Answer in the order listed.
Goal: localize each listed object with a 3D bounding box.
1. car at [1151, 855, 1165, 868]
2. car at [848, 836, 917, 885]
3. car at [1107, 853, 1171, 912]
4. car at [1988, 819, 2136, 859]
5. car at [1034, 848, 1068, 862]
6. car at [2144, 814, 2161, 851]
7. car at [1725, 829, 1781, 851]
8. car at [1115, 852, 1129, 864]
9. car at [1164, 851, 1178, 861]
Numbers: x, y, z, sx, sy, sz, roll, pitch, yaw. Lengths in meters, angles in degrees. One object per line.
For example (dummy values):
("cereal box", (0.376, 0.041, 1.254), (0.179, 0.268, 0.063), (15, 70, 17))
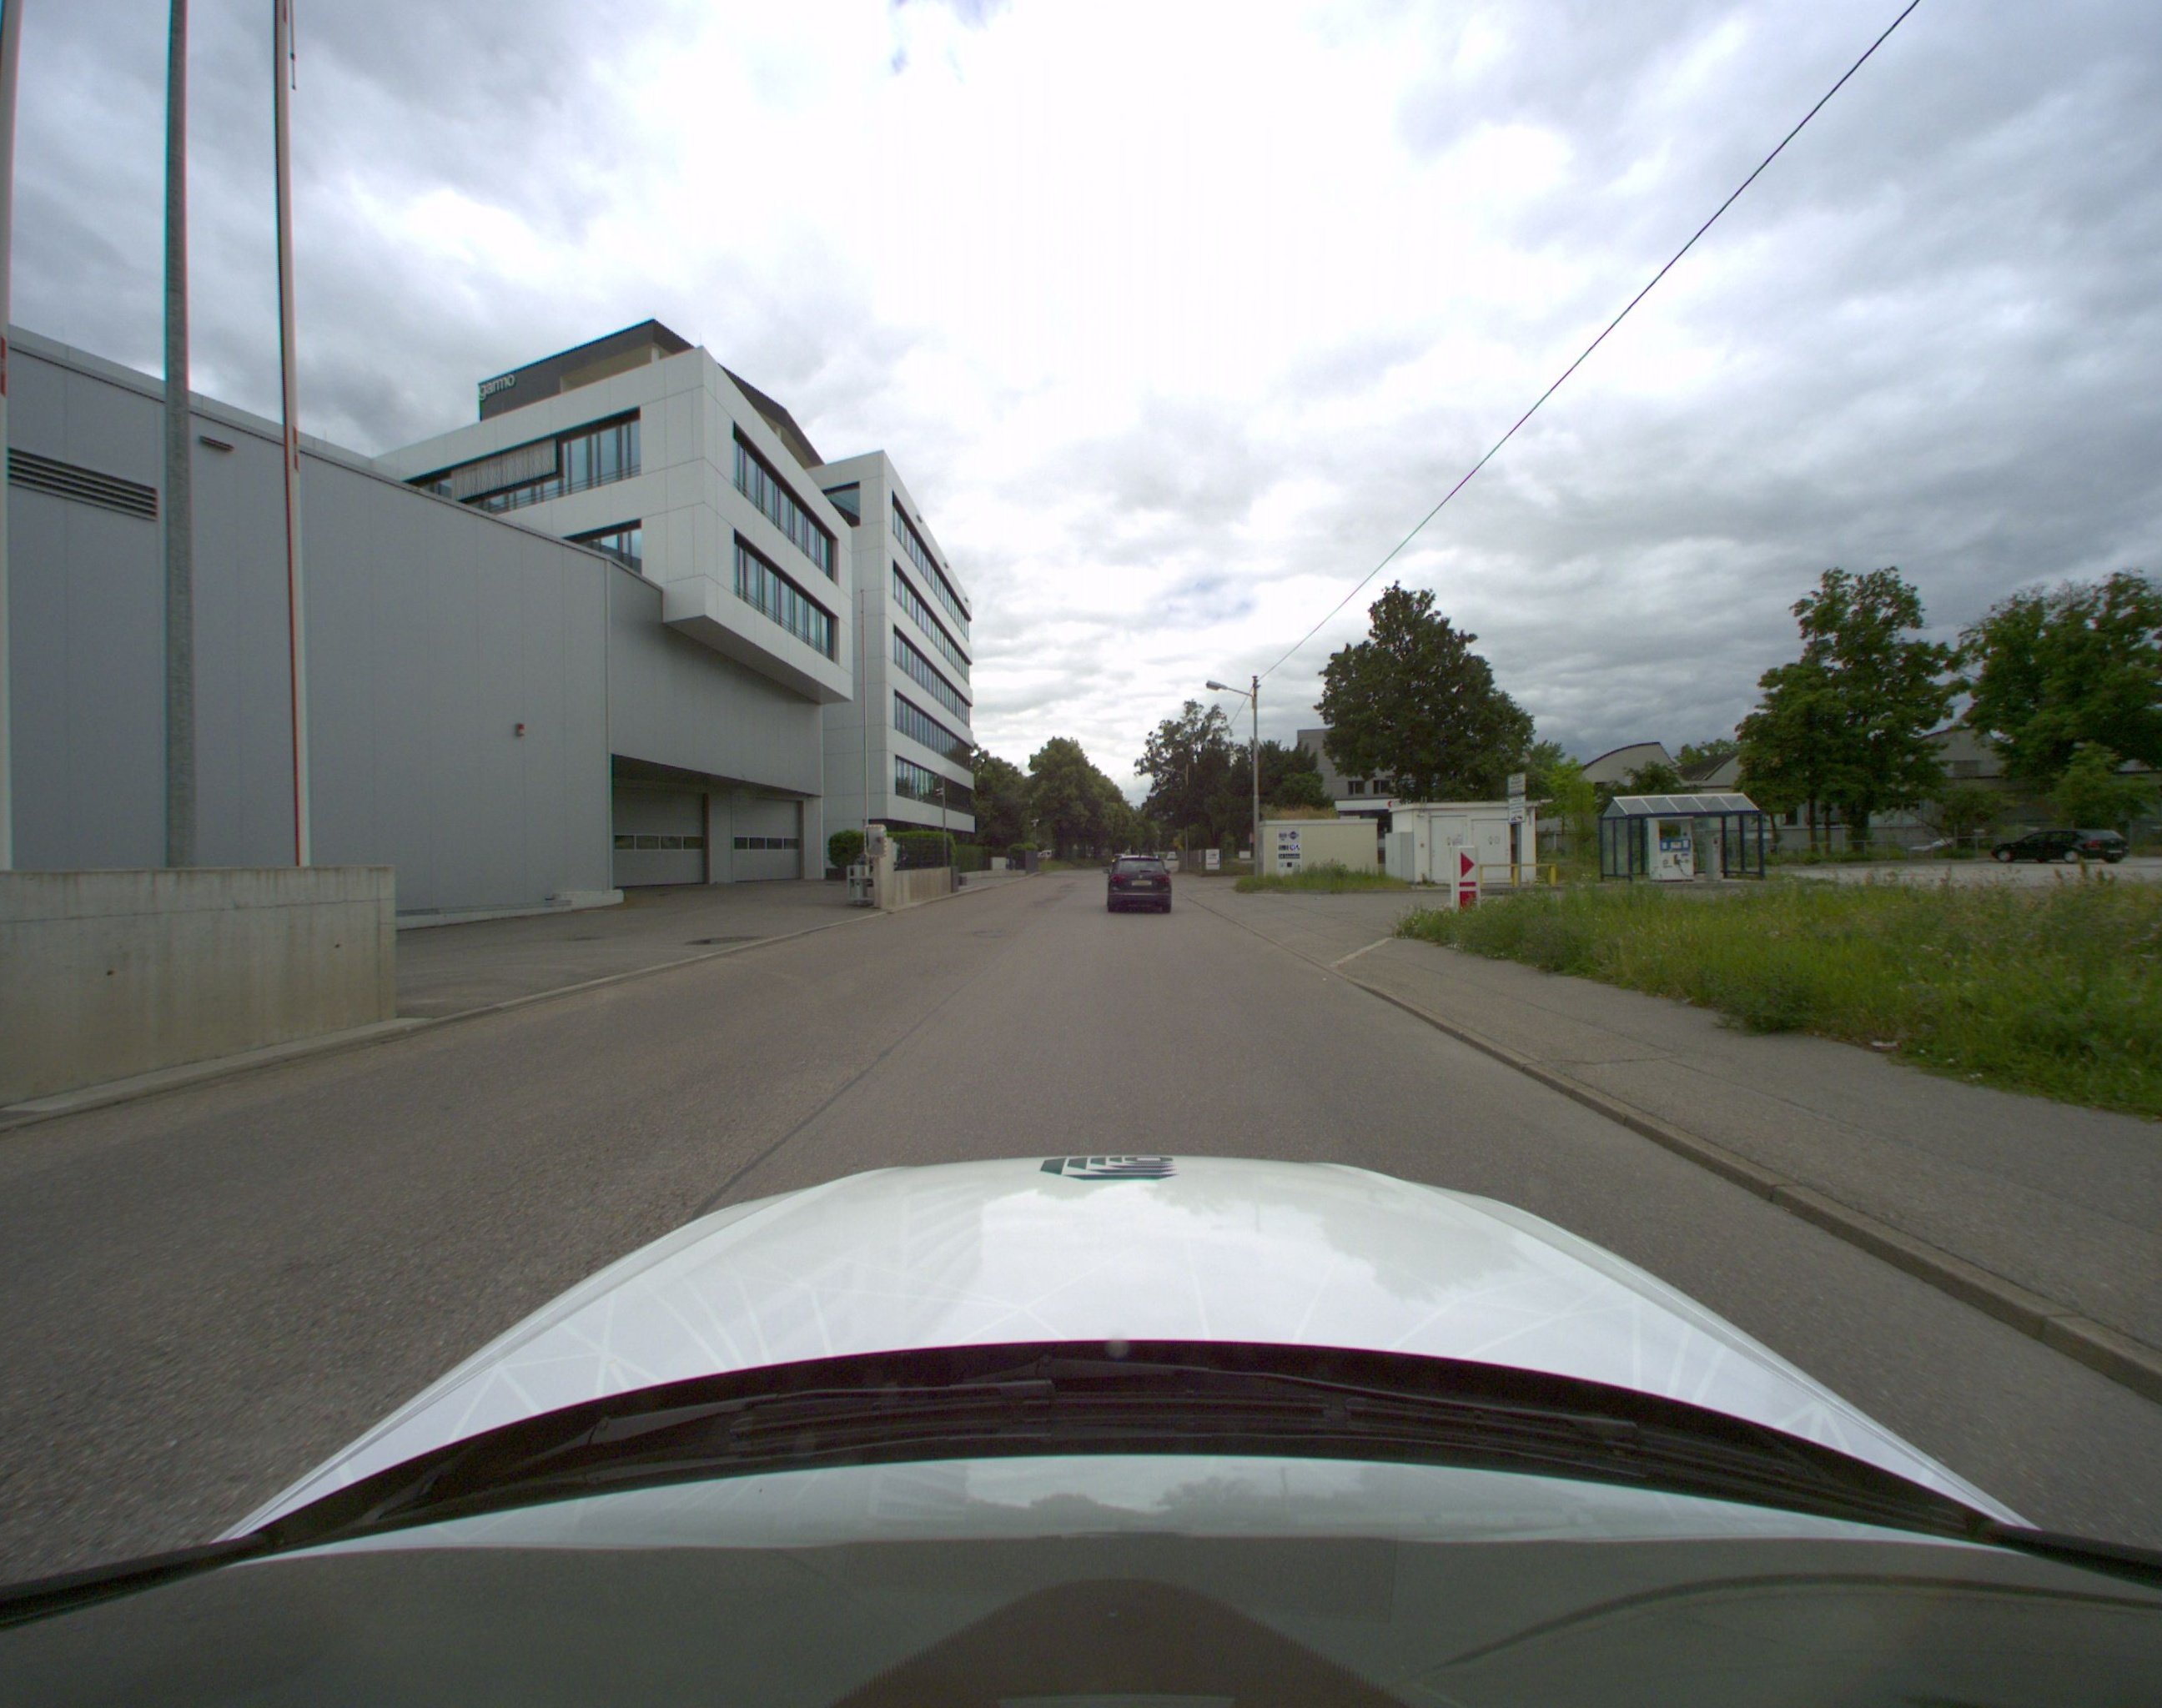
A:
("car", (9.825, 0.965, 104.533), (1.651, 1.574, 3.832), (-2, 0, 4))
("car", (-7.412, 0.239, 30.688), (1.643, 1.762, 3.182), (0, 0, 4))
("car", (1.739, 0.821, 24.211), (1.731, 1.618, 3.645), (0, -1, 5))
("car", (41.534, -0.607, 34.638), (1.725, 1.530, 3.887), (-2, 0, 3))
("car", (-5.716, 0.182, 155.820), (6.042, 2.387, 2.398), (-1, 0, 4))
("car", (49.825, -1.000, 35.115), (1.955, 1.645, 4.655), (-2, 0, 1))
("car", (48.558, -1.017, 58.954), (1.888, 1.521, 4.086), (-2, 0, 21))
("car", (5.913, 0.550, 117.618), (1.798, 1.764, 4.213), (0, 0, 6))
("car", (16.265, 0.390, 146.575), (1.980, 1.786, 4.014), (0, 0, 13))
